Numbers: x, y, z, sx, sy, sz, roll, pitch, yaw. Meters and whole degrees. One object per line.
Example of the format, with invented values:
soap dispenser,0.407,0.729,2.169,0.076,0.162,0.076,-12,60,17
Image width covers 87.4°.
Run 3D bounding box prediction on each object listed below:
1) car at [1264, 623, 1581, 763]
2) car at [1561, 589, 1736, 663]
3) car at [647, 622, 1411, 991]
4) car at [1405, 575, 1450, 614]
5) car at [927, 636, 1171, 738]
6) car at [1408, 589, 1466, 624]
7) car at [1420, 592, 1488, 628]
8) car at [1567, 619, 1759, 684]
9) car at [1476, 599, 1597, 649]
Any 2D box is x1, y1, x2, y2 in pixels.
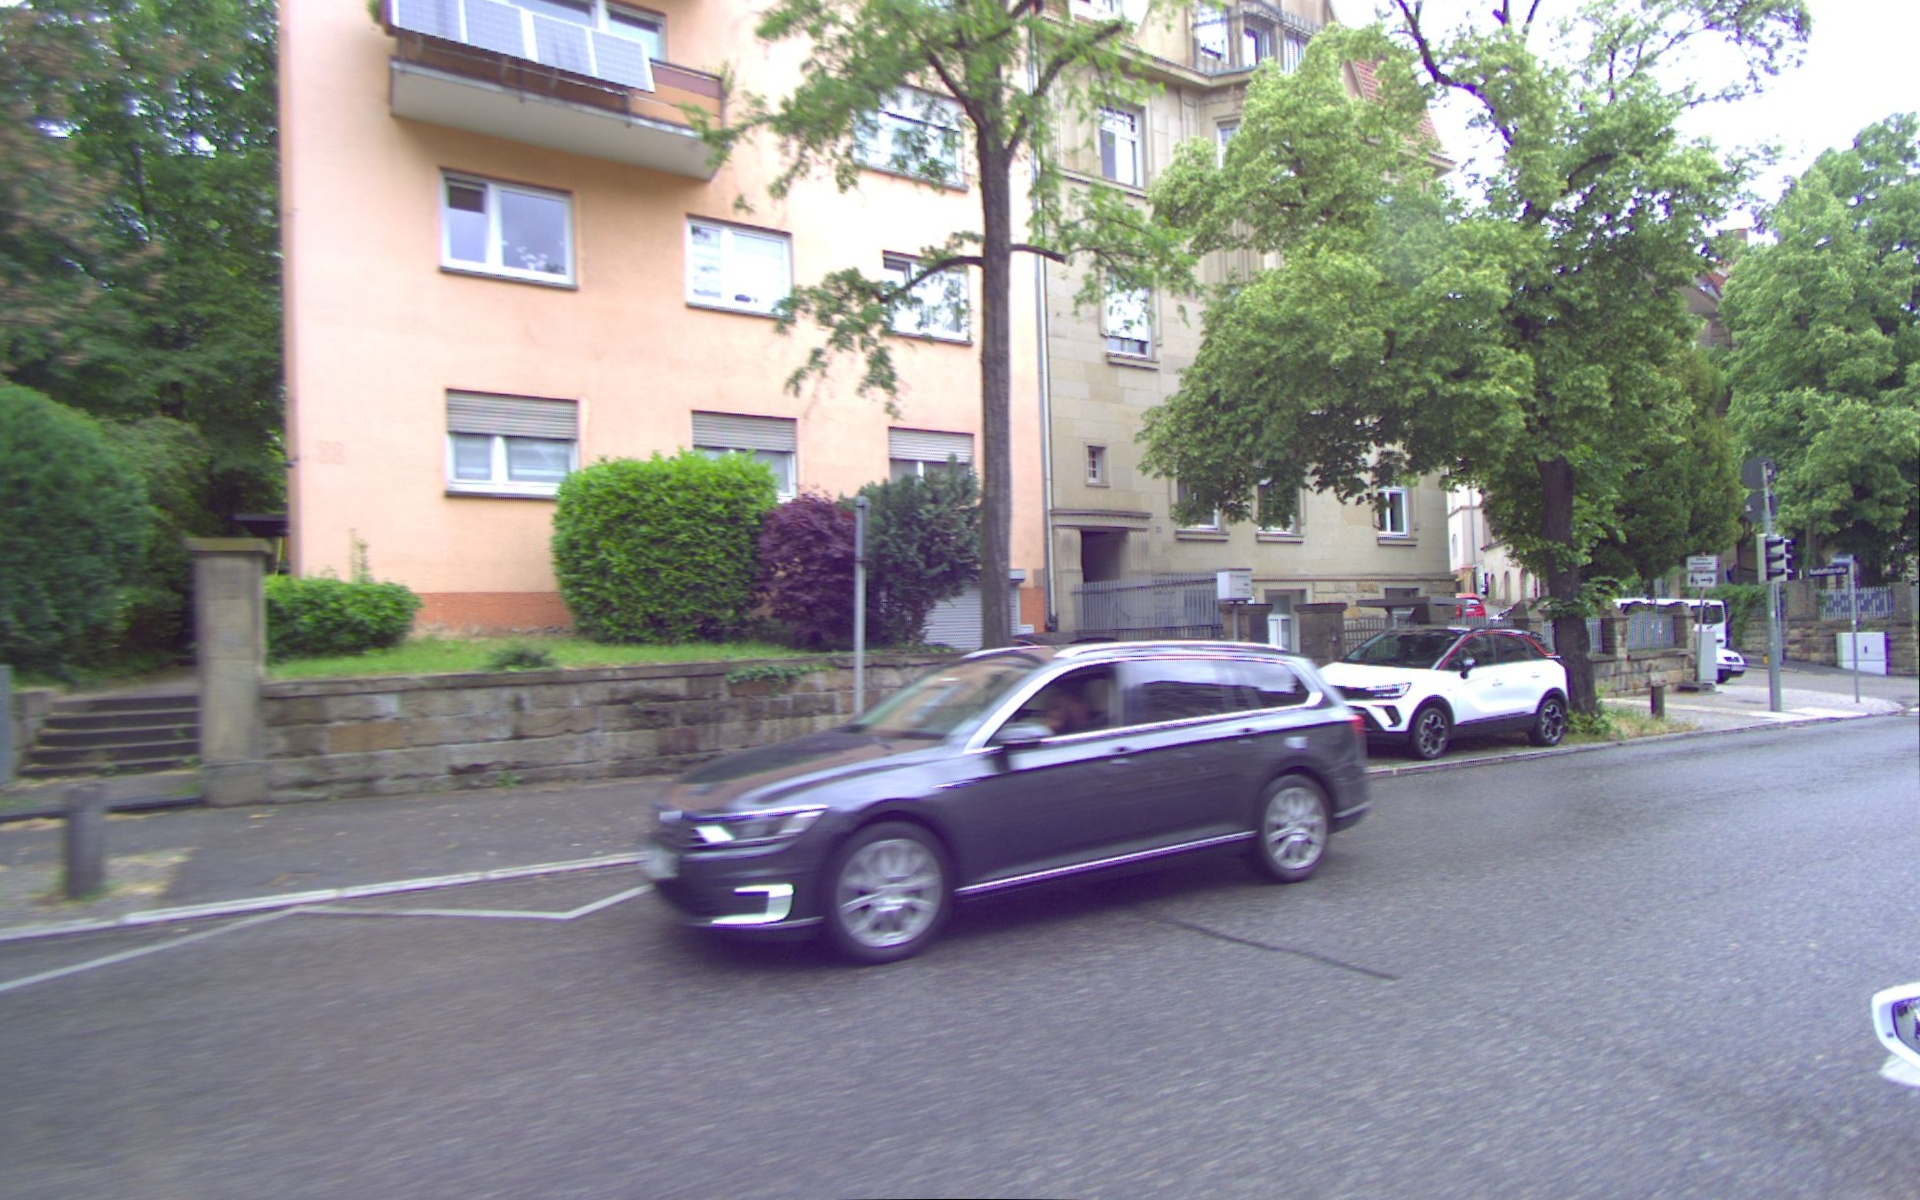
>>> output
car,6.244,1.164,13.444,4.252,1.580,1.733,2,-1,-30
car,23.296,0.800,34.231,1.992,2.076,4.661,0,4,-15
car,0.571,0.937,6.189,4.497,1.537,1.806,1,-3,-32
car,27.142,-0.335,58.409,1.760,2.068,3.937,4,2,18
car,1.239,1.261,15.647,1.816,1.344,3.967,1,-2,-31
car,25.222,0.321,53.265,2.071,1.649,4.444,4,1,18
car,23.613,0.451,48.160,1.993,1.556,4.445,4,1,15
car,18.942,1.340,27.237,1.801,1.427,3.851,4,0,-24
car,22.676,0.889,39.716,2.072,1.535,4.440,-1,4,-2
